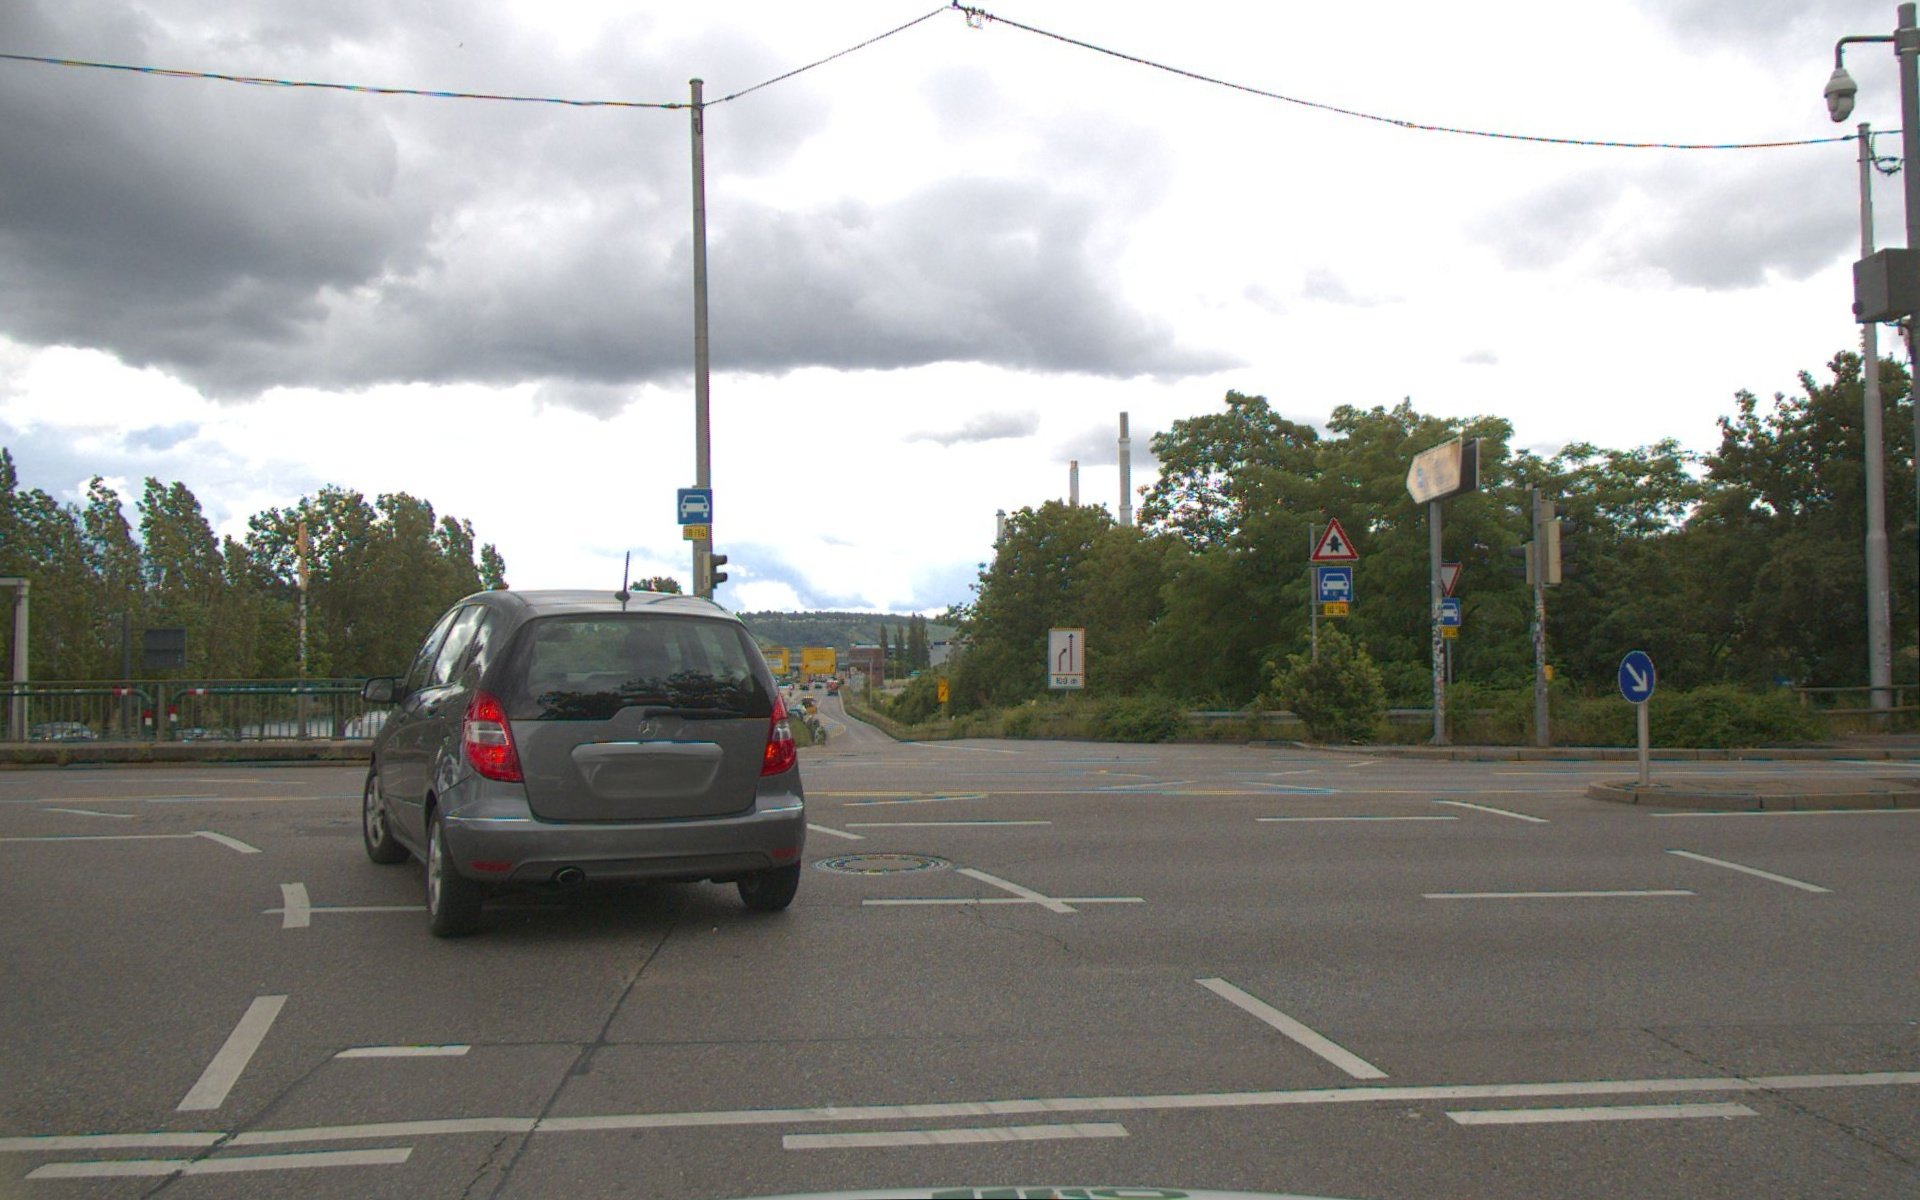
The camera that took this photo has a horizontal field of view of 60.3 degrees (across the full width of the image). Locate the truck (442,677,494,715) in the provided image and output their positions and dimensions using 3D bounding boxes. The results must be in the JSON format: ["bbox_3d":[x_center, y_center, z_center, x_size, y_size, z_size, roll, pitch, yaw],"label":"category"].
[{"bbox_3d":[-49.173,9.560,165.466,2.717,3.572,9.253,0,-2,-2],"label":"truck"}]

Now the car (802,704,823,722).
[{"bbox_3d":[-14.632,11.187,163.725,1.955,1.767,3.990,-2,-4,-6],"label":"car"}]

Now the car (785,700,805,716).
[{"bbox_3d":[-21.627,14.156,216.388,2.482,1.935,4.874,-2,-4,-6],"label":"car"}]

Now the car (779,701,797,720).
[{"bbox_3d":[-19.779,12.694,189.798,1.955,2.049,3.993,-2,-4,-6],"label":"car"}]

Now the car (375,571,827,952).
[{"bbox_3d":[-2.142,0.717,8.996,1.722,1.578,3.843,0,-1,-23],"label":"car"}]

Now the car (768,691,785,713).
[{"bbox_3d":[-22.823,12.660,205.484,1.955,2.668,5.390,-2,-4,-6],"label":"car"}]

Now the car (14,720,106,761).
[{"bbox_3d":[-39.389,6.140,72.497,1.954,1.646,3.997,-2,-4,-3],"label":"car"}]
